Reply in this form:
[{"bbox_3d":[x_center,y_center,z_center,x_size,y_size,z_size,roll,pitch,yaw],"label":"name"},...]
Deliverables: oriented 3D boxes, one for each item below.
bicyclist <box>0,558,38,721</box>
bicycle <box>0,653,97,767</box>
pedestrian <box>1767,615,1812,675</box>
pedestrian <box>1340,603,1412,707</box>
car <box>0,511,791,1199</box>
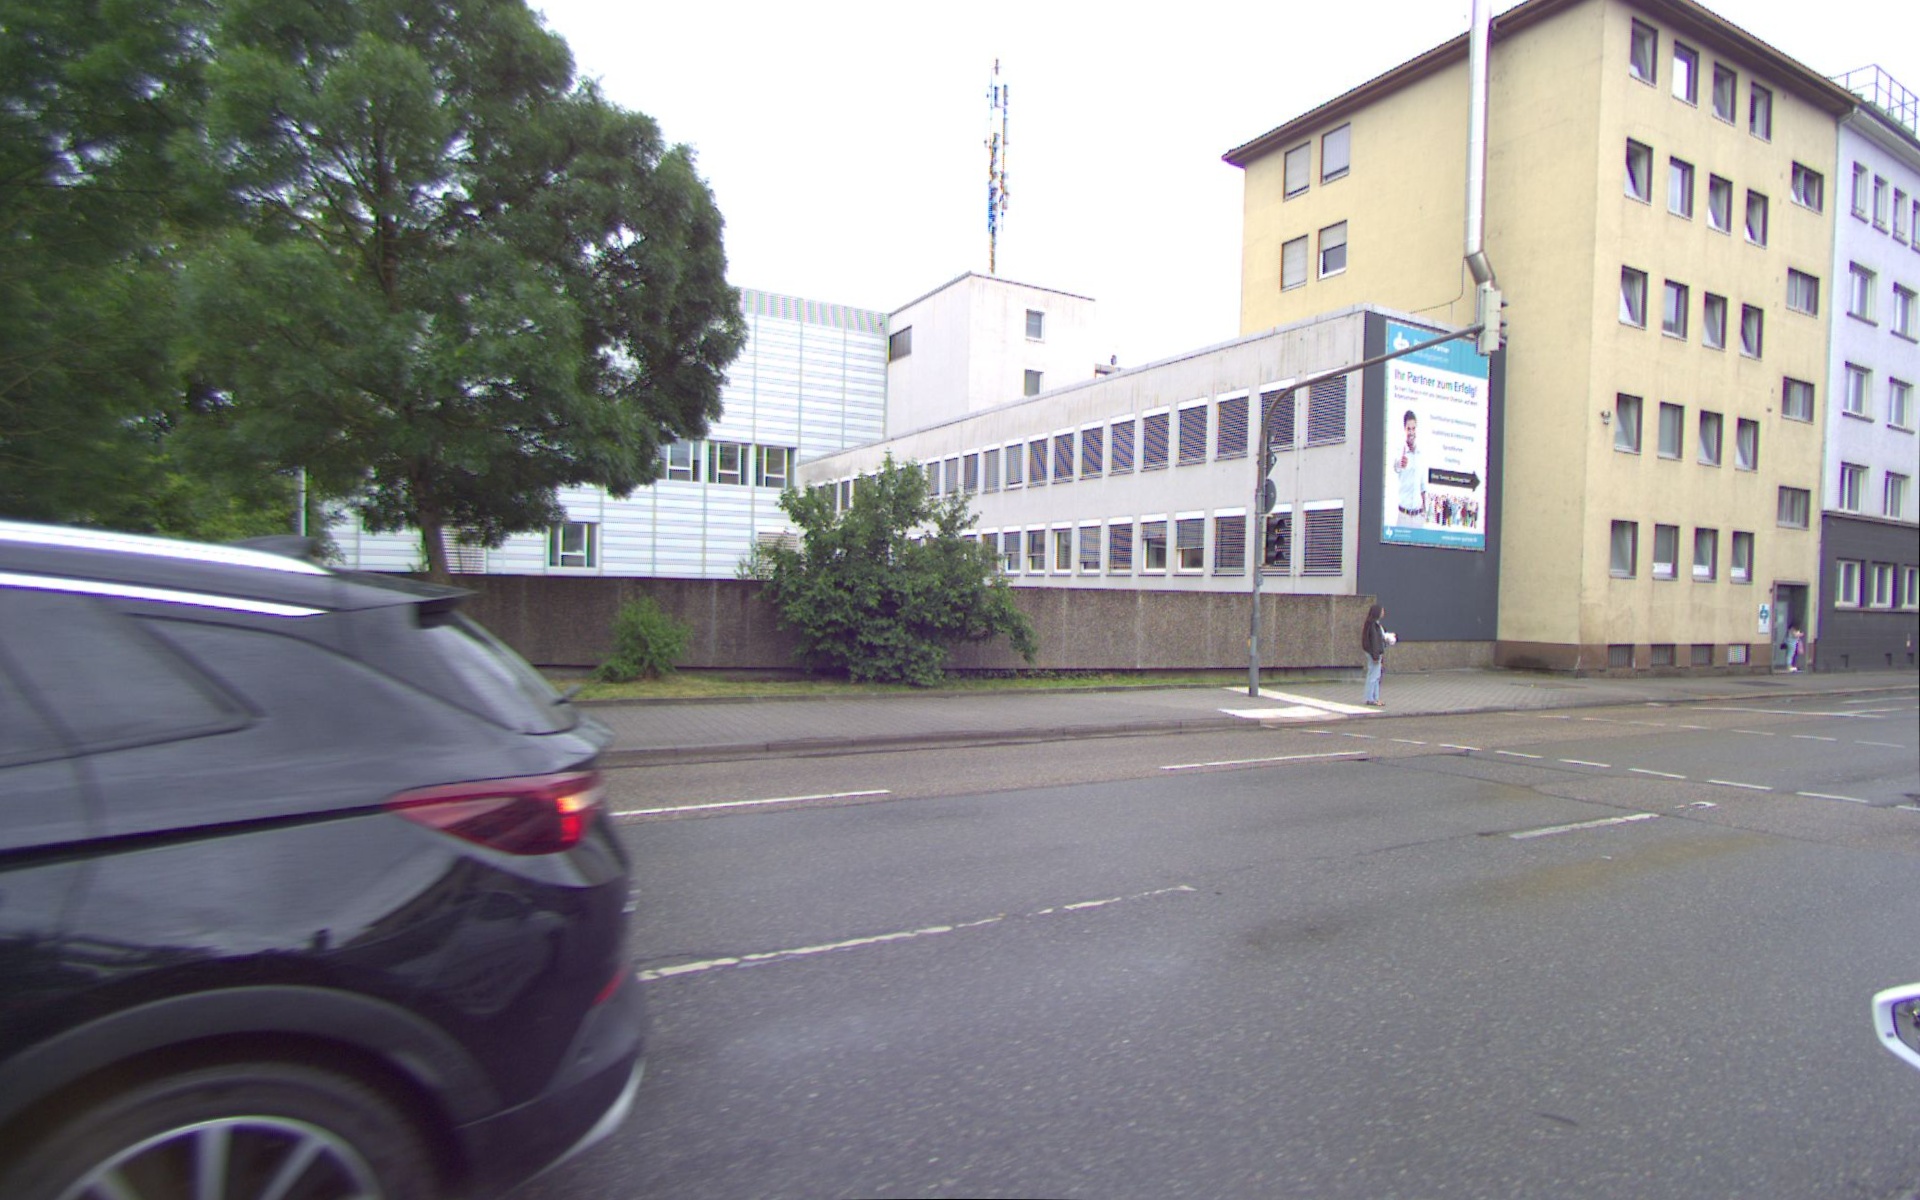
[{"bbox_3d":[-9.176,0.339,9.251,0.802,1.461,0.838,2,2,-29],"label":"bicyclist"},{"bbox_3d":[-8.985,0.965,8.909,1.844,0.920,0.881,2,2,-29],"label":"bicycle"},{"bbox_3d":[24.535,1.326,29.712,0.801,1.712,0.714,2,2,-29],"label":"pedestrian"},{"bbox_3d":[7.153,0.932,17.277,0.801,1.712,0.714,2,2,-29],"label":"pedestrian"},{"bbox_3d":[-2.632,0.643,1.752,4.244,1.616,1.799,2,0,-30],"label":"car"}]
